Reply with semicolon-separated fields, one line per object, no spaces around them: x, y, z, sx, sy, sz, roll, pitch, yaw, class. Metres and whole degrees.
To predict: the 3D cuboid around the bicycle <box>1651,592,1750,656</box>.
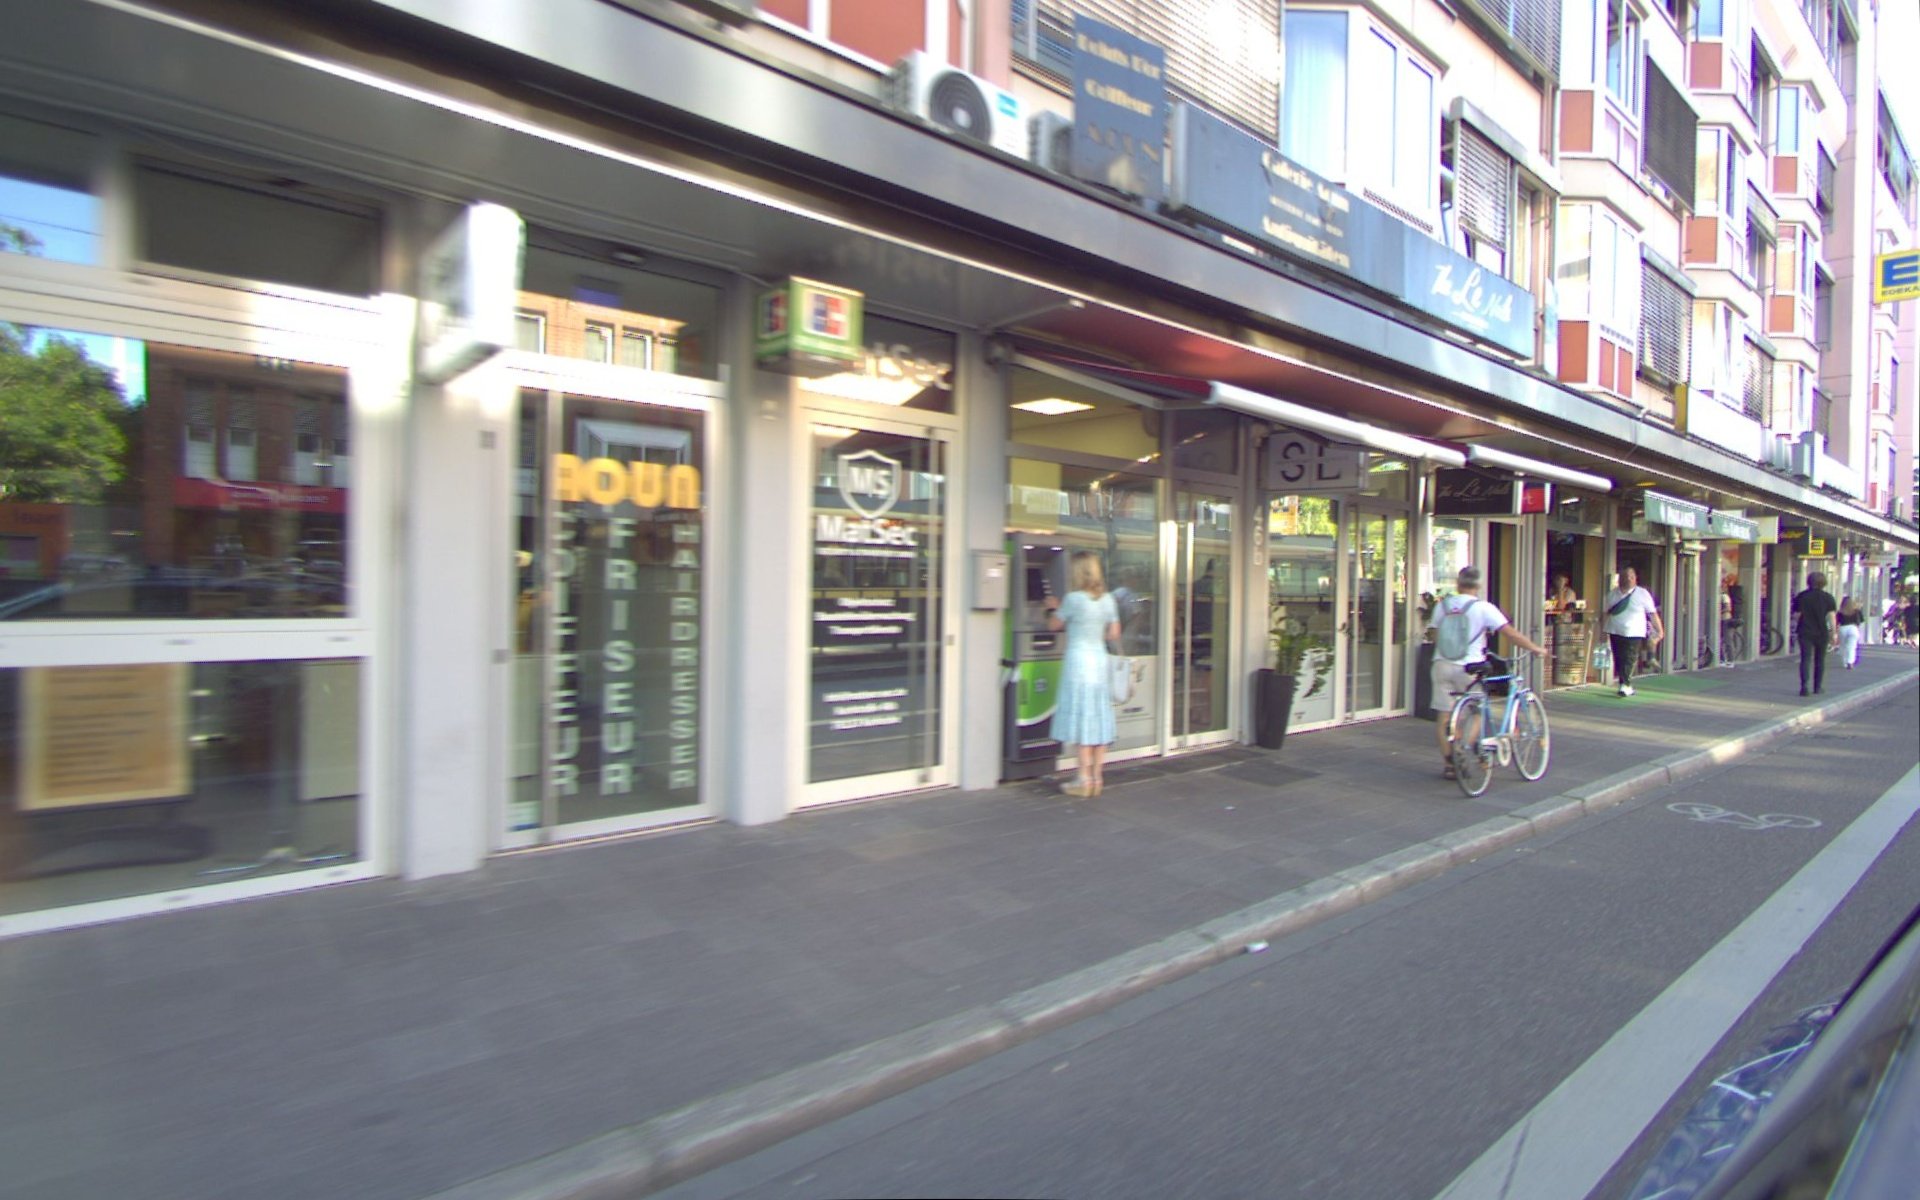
14.999;0.478;20.496;2.040;1.267;0.472;0;0;-17;bicycle

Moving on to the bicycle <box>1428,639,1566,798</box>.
4.010;0.825;7.497;1.730;1.002;0.303;0;2;-42;bicycle

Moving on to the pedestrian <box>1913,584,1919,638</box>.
29.890;0.352;31.154;0.486;1.633;0.708;-1;3;-41;pedestrian

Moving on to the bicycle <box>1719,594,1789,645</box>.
19.871;0.472;25.361;0.472;1.215;1.483;1;1;-5;bicycle

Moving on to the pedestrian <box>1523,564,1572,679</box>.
8.527;0.302;14.697;0.520;1.624;0.456;0;0;-41;pedestrian

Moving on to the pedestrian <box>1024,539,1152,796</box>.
0.852;0.413;6.748;0.544;1.610;0.601;0;2;-41;pedestrian

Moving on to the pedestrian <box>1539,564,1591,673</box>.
9.362;0.279;15.659;0.512;1.653;0.518;0;0;-36;pedestrian

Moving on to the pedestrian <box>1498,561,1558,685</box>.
7.979;0.308;14.215;0.544;1.704;0.579;0;0;-43;pedestrian

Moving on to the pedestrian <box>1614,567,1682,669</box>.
11.633;0.294;17.117;0.627;1.656;0.728;0;3;-39;pedestrian

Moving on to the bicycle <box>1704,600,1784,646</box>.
19.182;0.551;24.784;0.427;1.054;1.511;2;-1;-43;bicycle

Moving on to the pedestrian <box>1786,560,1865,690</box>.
13.121;0.350;15.346;0.974;1.884;0.676;0;2;-39;pedestrian

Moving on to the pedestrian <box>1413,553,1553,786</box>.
3.965;0.485;7.676;0.693;1.650;0.664;0;3;-42;pedestrian

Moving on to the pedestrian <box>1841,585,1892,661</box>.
19.203;0.475;21.433;0.776;1.539;0.666;0;3;-43;pedestrian

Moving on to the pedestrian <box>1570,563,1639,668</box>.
10.672;0.237;16.759;0.684;1.695;0.774;0;1;-40;pedestrian

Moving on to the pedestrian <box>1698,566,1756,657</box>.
15.162;0.224;20.027;0.783;1.743;0.585;3;0;32;pedestrian
